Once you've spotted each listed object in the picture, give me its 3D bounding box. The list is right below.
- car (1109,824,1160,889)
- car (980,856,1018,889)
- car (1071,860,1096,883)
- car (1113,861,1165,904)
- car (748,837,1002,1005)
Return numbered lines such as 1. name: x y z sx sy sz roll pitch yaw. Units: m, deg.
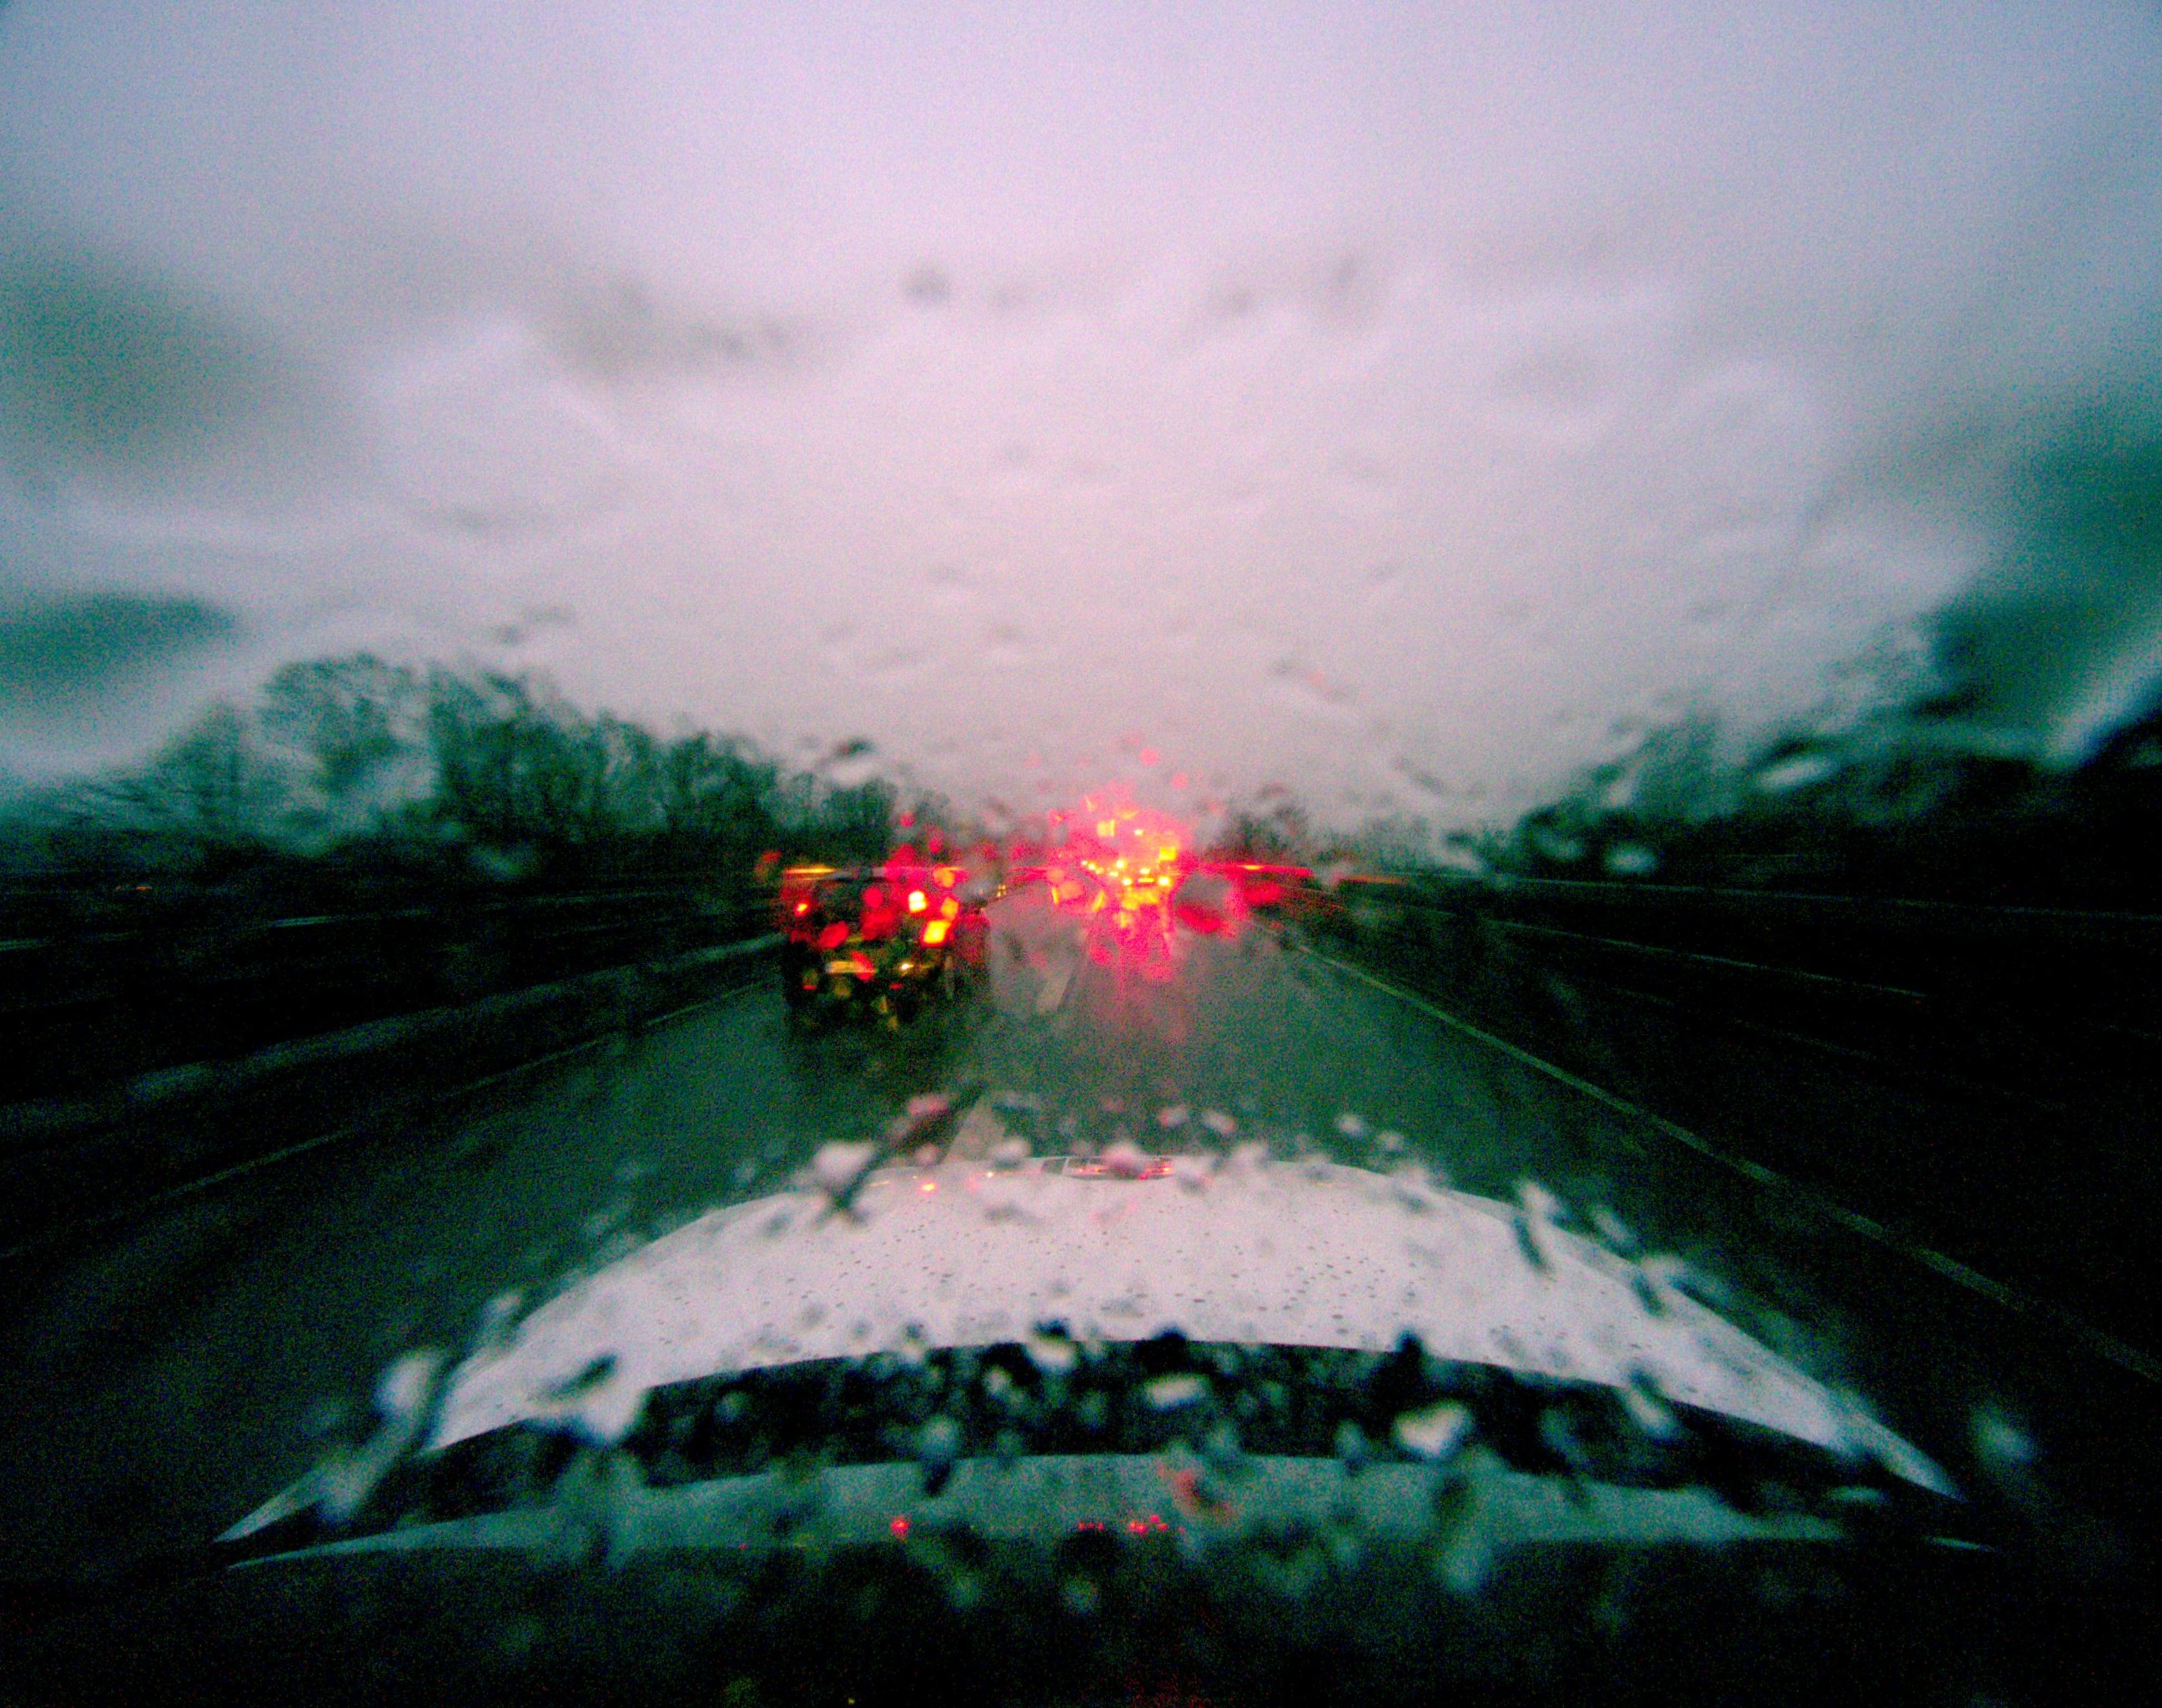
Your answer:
1. car: 2.646 0.186 40.826 2.272 2.966 6.394 -2 -1 3
2. car: -5.830 1.329 58.629 2.042 2.263 5.209 -1 -1 2
3. car: 0.238 1.488 69.154 1.986 1.815 4.001 2 0 1
4. car: 2.108 0.972 29.547 1.729 1.414 4.382 1 0 4
5. car: -2.135 0.692 9.632 1.723 1.533 4.045 -1 -2 4
